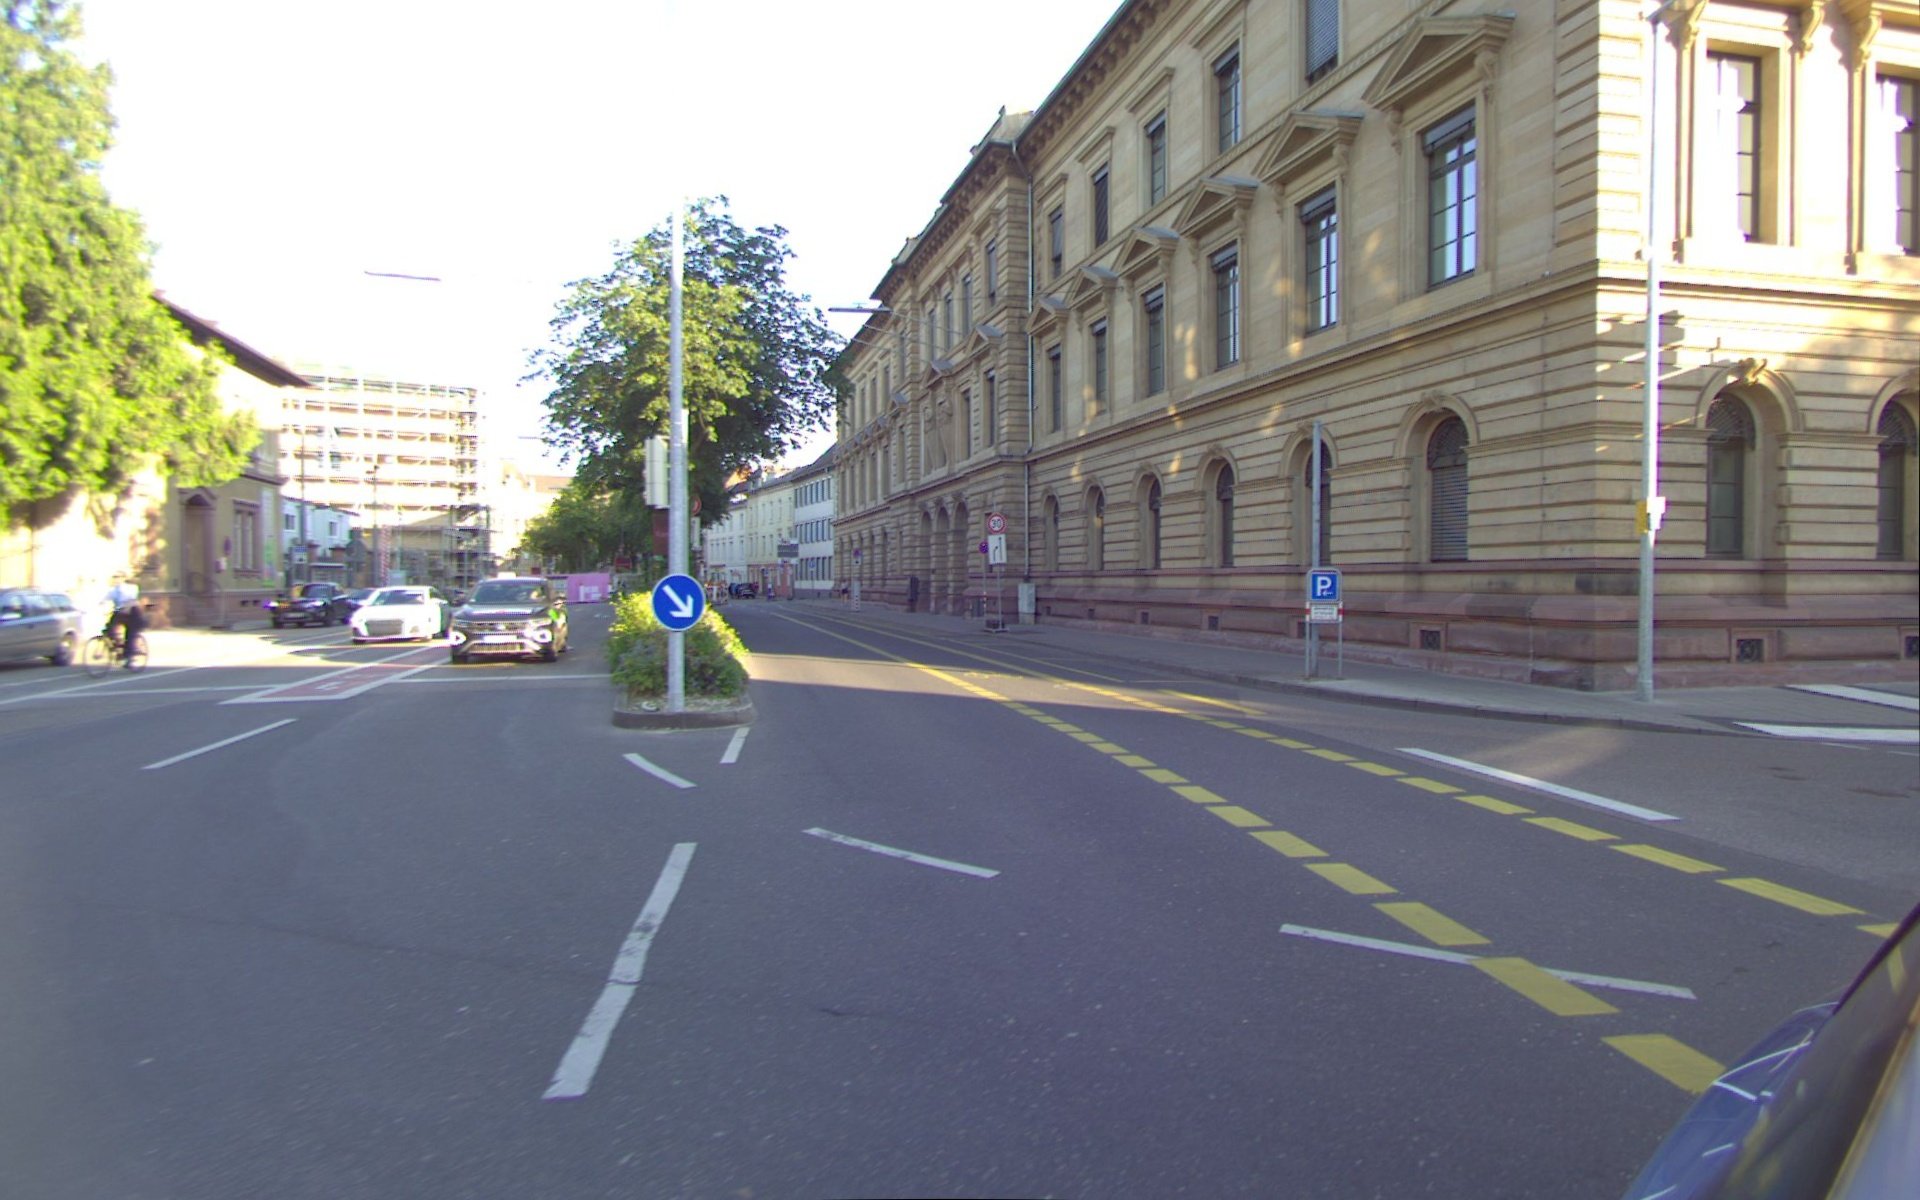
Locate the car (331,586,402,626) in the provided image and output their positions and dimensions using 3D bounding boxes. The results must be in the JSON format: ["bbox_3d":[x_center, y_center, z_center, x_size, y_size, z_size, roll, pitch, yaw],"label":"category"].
[{"bbox_3d":[-24.559,0.195,42.010,1.653,1.510,4.086,-1,1,-17],"label":"car"}]

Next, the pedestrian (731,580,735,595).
[{"bbox_3d":[-22.609,-1.244,100.861,0.357,1.510,0.331,0,1,-24],"label":"pedestrian"}]

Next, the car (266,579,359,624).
[{"bbox_3d":[-23.239,0.008,36.461,1.796,1.510,4.086,-1,1,-17],"label":"car"}]

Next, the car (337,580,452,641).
[{"bbox_3d":[-14.516,0.212,26.208,1.796,1.408,4.031,-1,1,-17],"label":"car"}]

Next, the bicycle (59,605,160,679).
[{"bbox_3d":[-14.350,0.675,17.133,0.486,1.114,1.671,-2,2,-9],"label":"bicycle"}]

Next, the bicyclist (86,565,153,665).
[{"bbox_3d":[-14.385,0.243,17.333,0.653,1.664,0.521,-2,1,-9],"label":"bicyclist"}]

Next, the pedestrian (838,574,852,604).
[{"bbox_3d":[-7.178,-0.700,63.165,0.758,1.876,0.814,0,1,-16],"label":"pedestrian"}]

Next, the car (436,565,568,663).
[{"bbox_3d":[-8.623,0.184,19.386,1.796,1.632,4.086,-1,1,-17],"label":"car"}]

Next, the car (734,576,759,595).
[{"bbox_3d":[-21.473,-1.454,101.788,1.682,1.871,3.833,0,1,-24],"label":"car"}]

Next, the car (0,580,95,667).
[{"bbox_3d":[-17.272,0.389,17.675,1.679,1.463,4.208,0,1,-16],"label":"car"}]
